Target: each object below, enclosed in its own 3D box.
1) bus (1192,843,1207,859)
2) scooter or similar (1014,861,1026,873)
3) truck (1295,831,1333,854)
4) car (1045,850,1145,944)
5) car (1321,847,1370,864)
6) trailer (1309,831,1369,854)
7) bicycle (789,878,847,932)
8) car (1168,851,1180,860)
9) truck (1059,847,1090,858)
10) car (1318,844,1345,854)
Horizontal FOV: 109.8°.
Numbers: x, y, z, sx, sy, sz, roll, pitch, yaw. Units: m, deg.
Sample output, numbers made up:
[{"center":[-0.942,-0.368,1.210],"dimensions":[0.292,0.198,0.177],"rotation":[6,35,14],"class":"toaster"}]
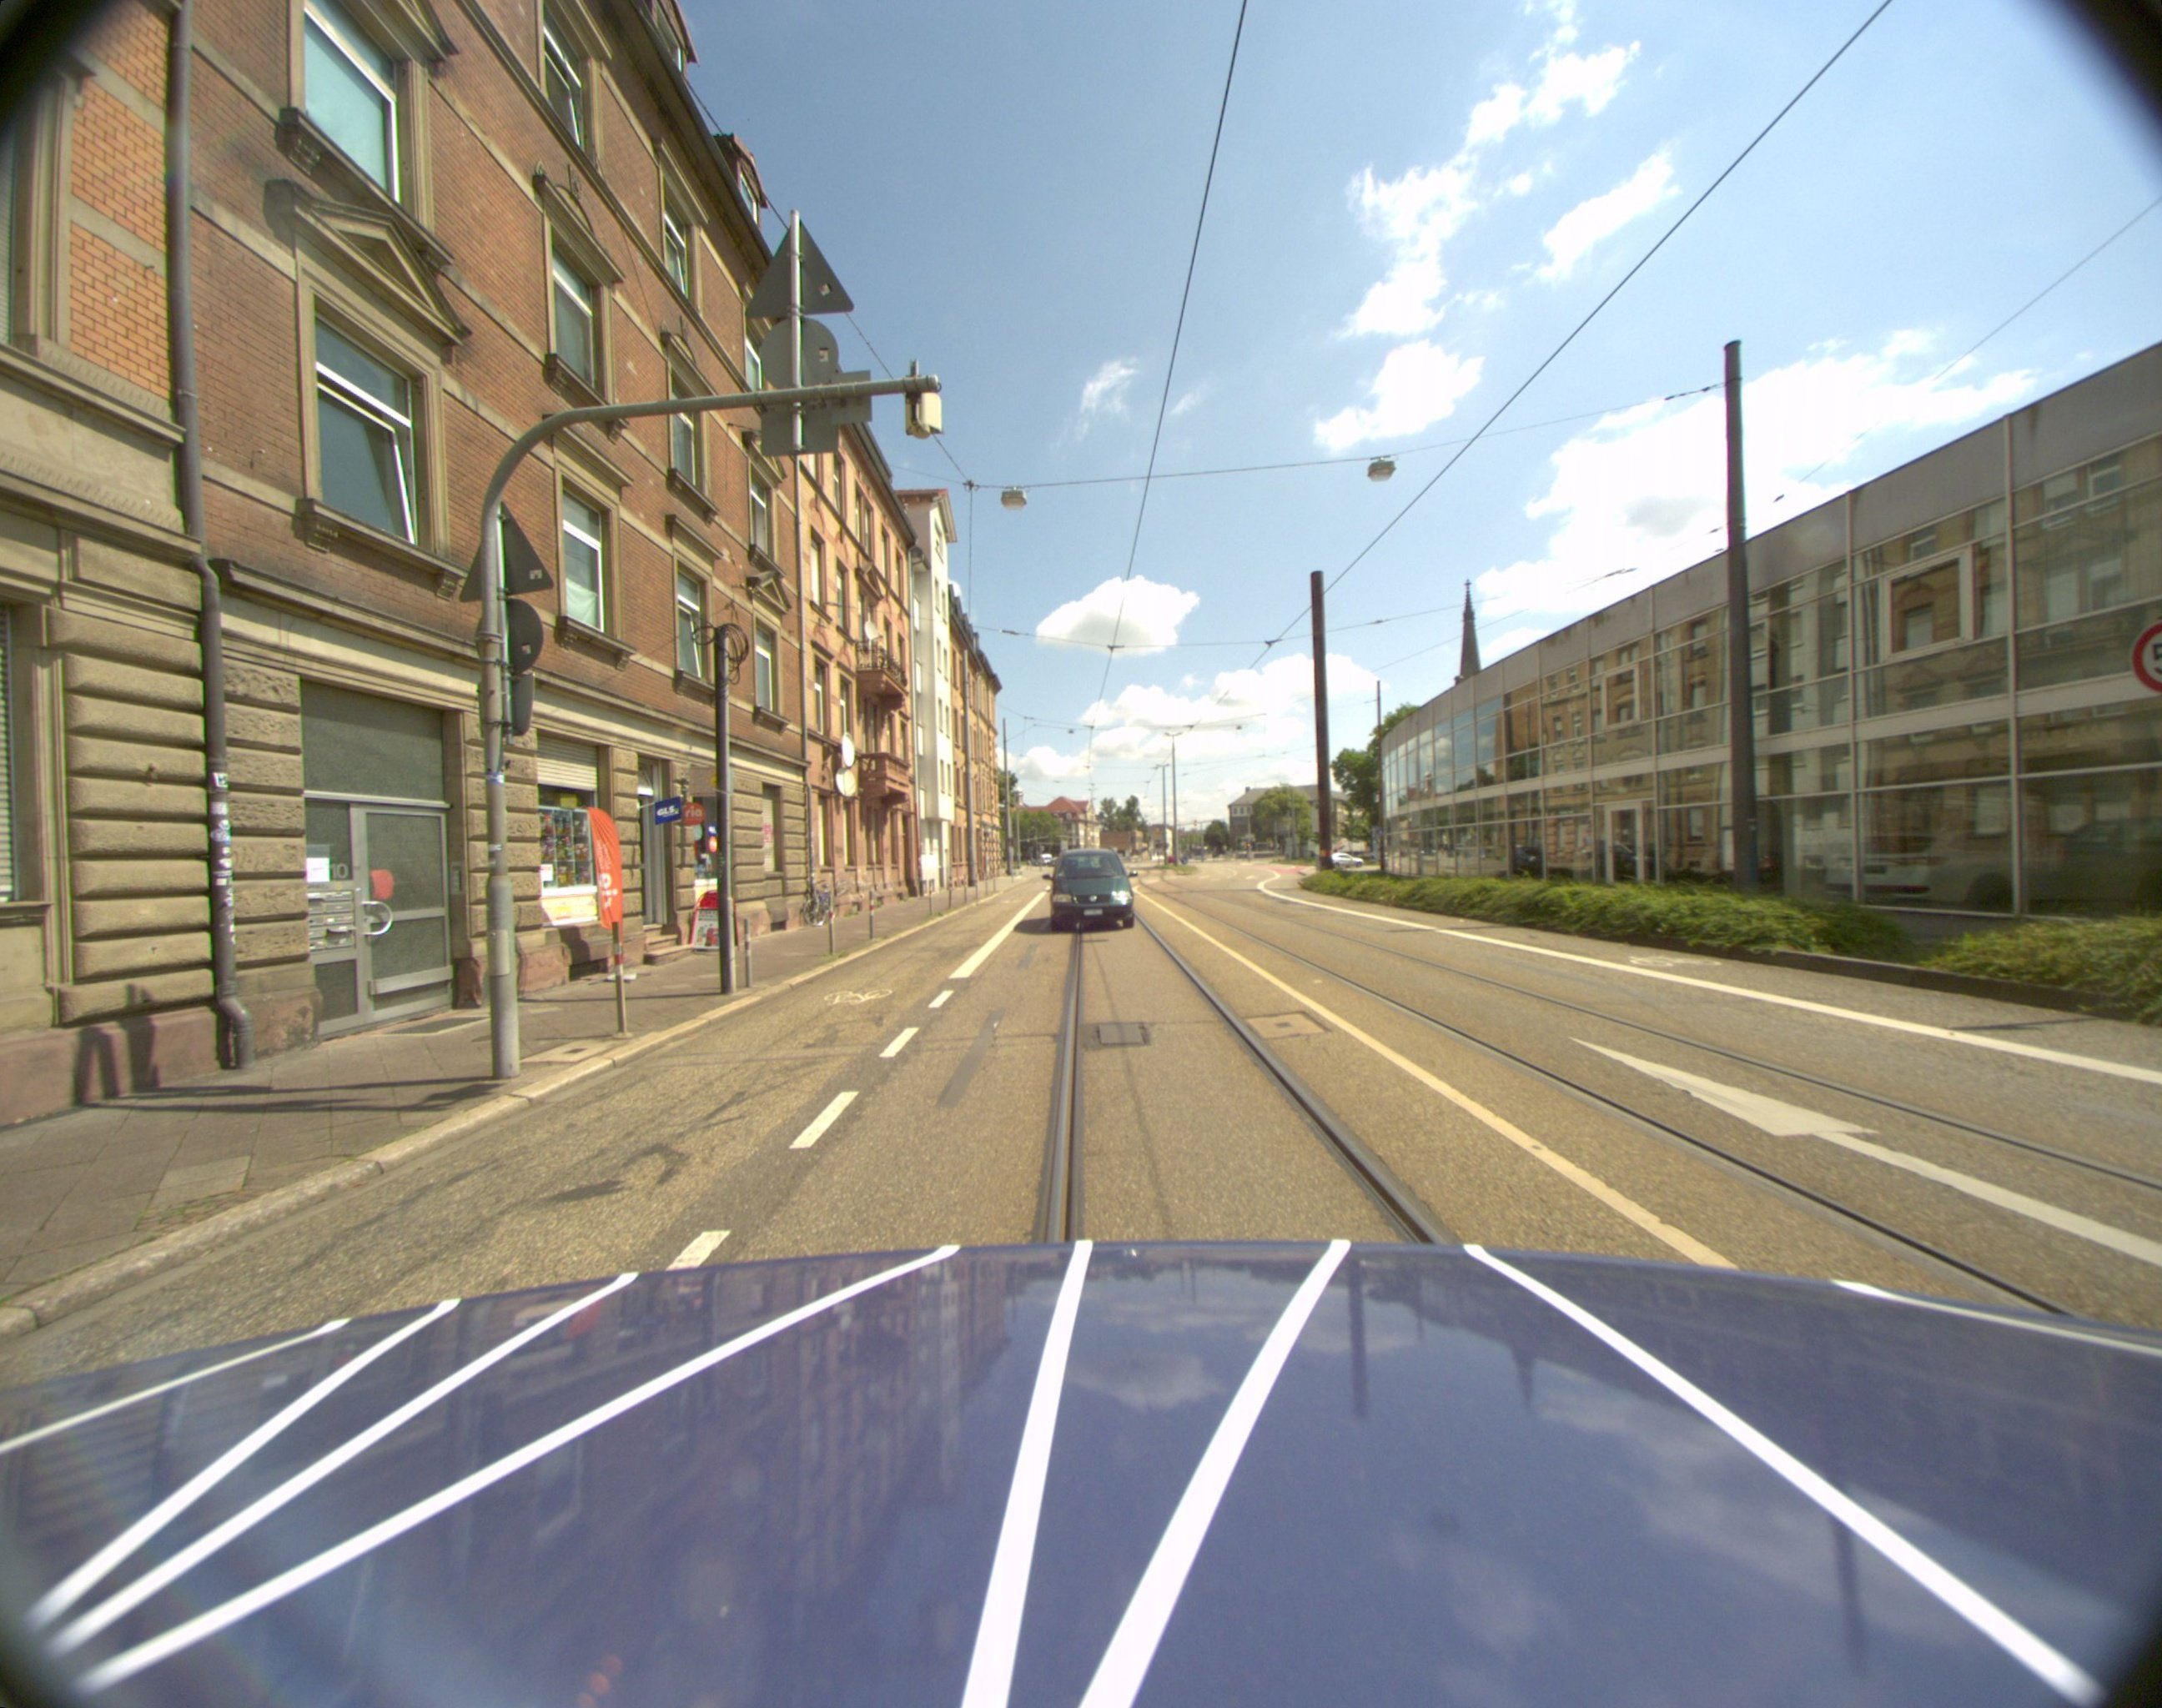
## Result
[{"center":[27.751,-0.732,177.164],"dimensions":[2.947,3.427,7.954],"rotation":[-2,0,12],"class":"bus"},{"center":[-5.854,1.252,72.849],"dimensions":[0.949,1.173,1.086],"rotation":[-1,1,7],"class":"scooter or similar"},{"center":[44.430,-2.137,144.746],"dimensions":[6.889,4.095,2.957],"rotation":[-2,0,-30],"class":"truck"},{"center":[0.277,0.817,16.510],"dimensions":[1.819,1.707,4.085],"rotation":[-3,0,0],"class":"car"},{"center":[24.654,0.164,70.840],"dimensions":[4.192,1.411,1.817],"rotation":[-2,0,-25],"class":"car"},{"center":[50.372,-2.324,148.221],"dimensions":[13.439,4.052,2.942],"rotation":[-2,0,-30],"class":"trailer"},{"center":[-6.408,1.208,18.632],"dimensions":[0.588,1.171,2.205],"rotation":[-1,0,1],"class":"bicycle"},{"center":[15.855,0.231,129.997],"dimensions":[1.706,1.420,3.902],"rotation":[-1,0,1],"class":"car"},{"center":[-1.922,-0.343,228.710],"dimensions":[8.744,2.981,3.349],"rotation":[-2,2,-25],"class":"truck"},{"center":[44.306,-0.881,134.292],"dimensions":[4.372,1.855,1.914],"rotation":[-1,0,-21],"class":"car"}]
